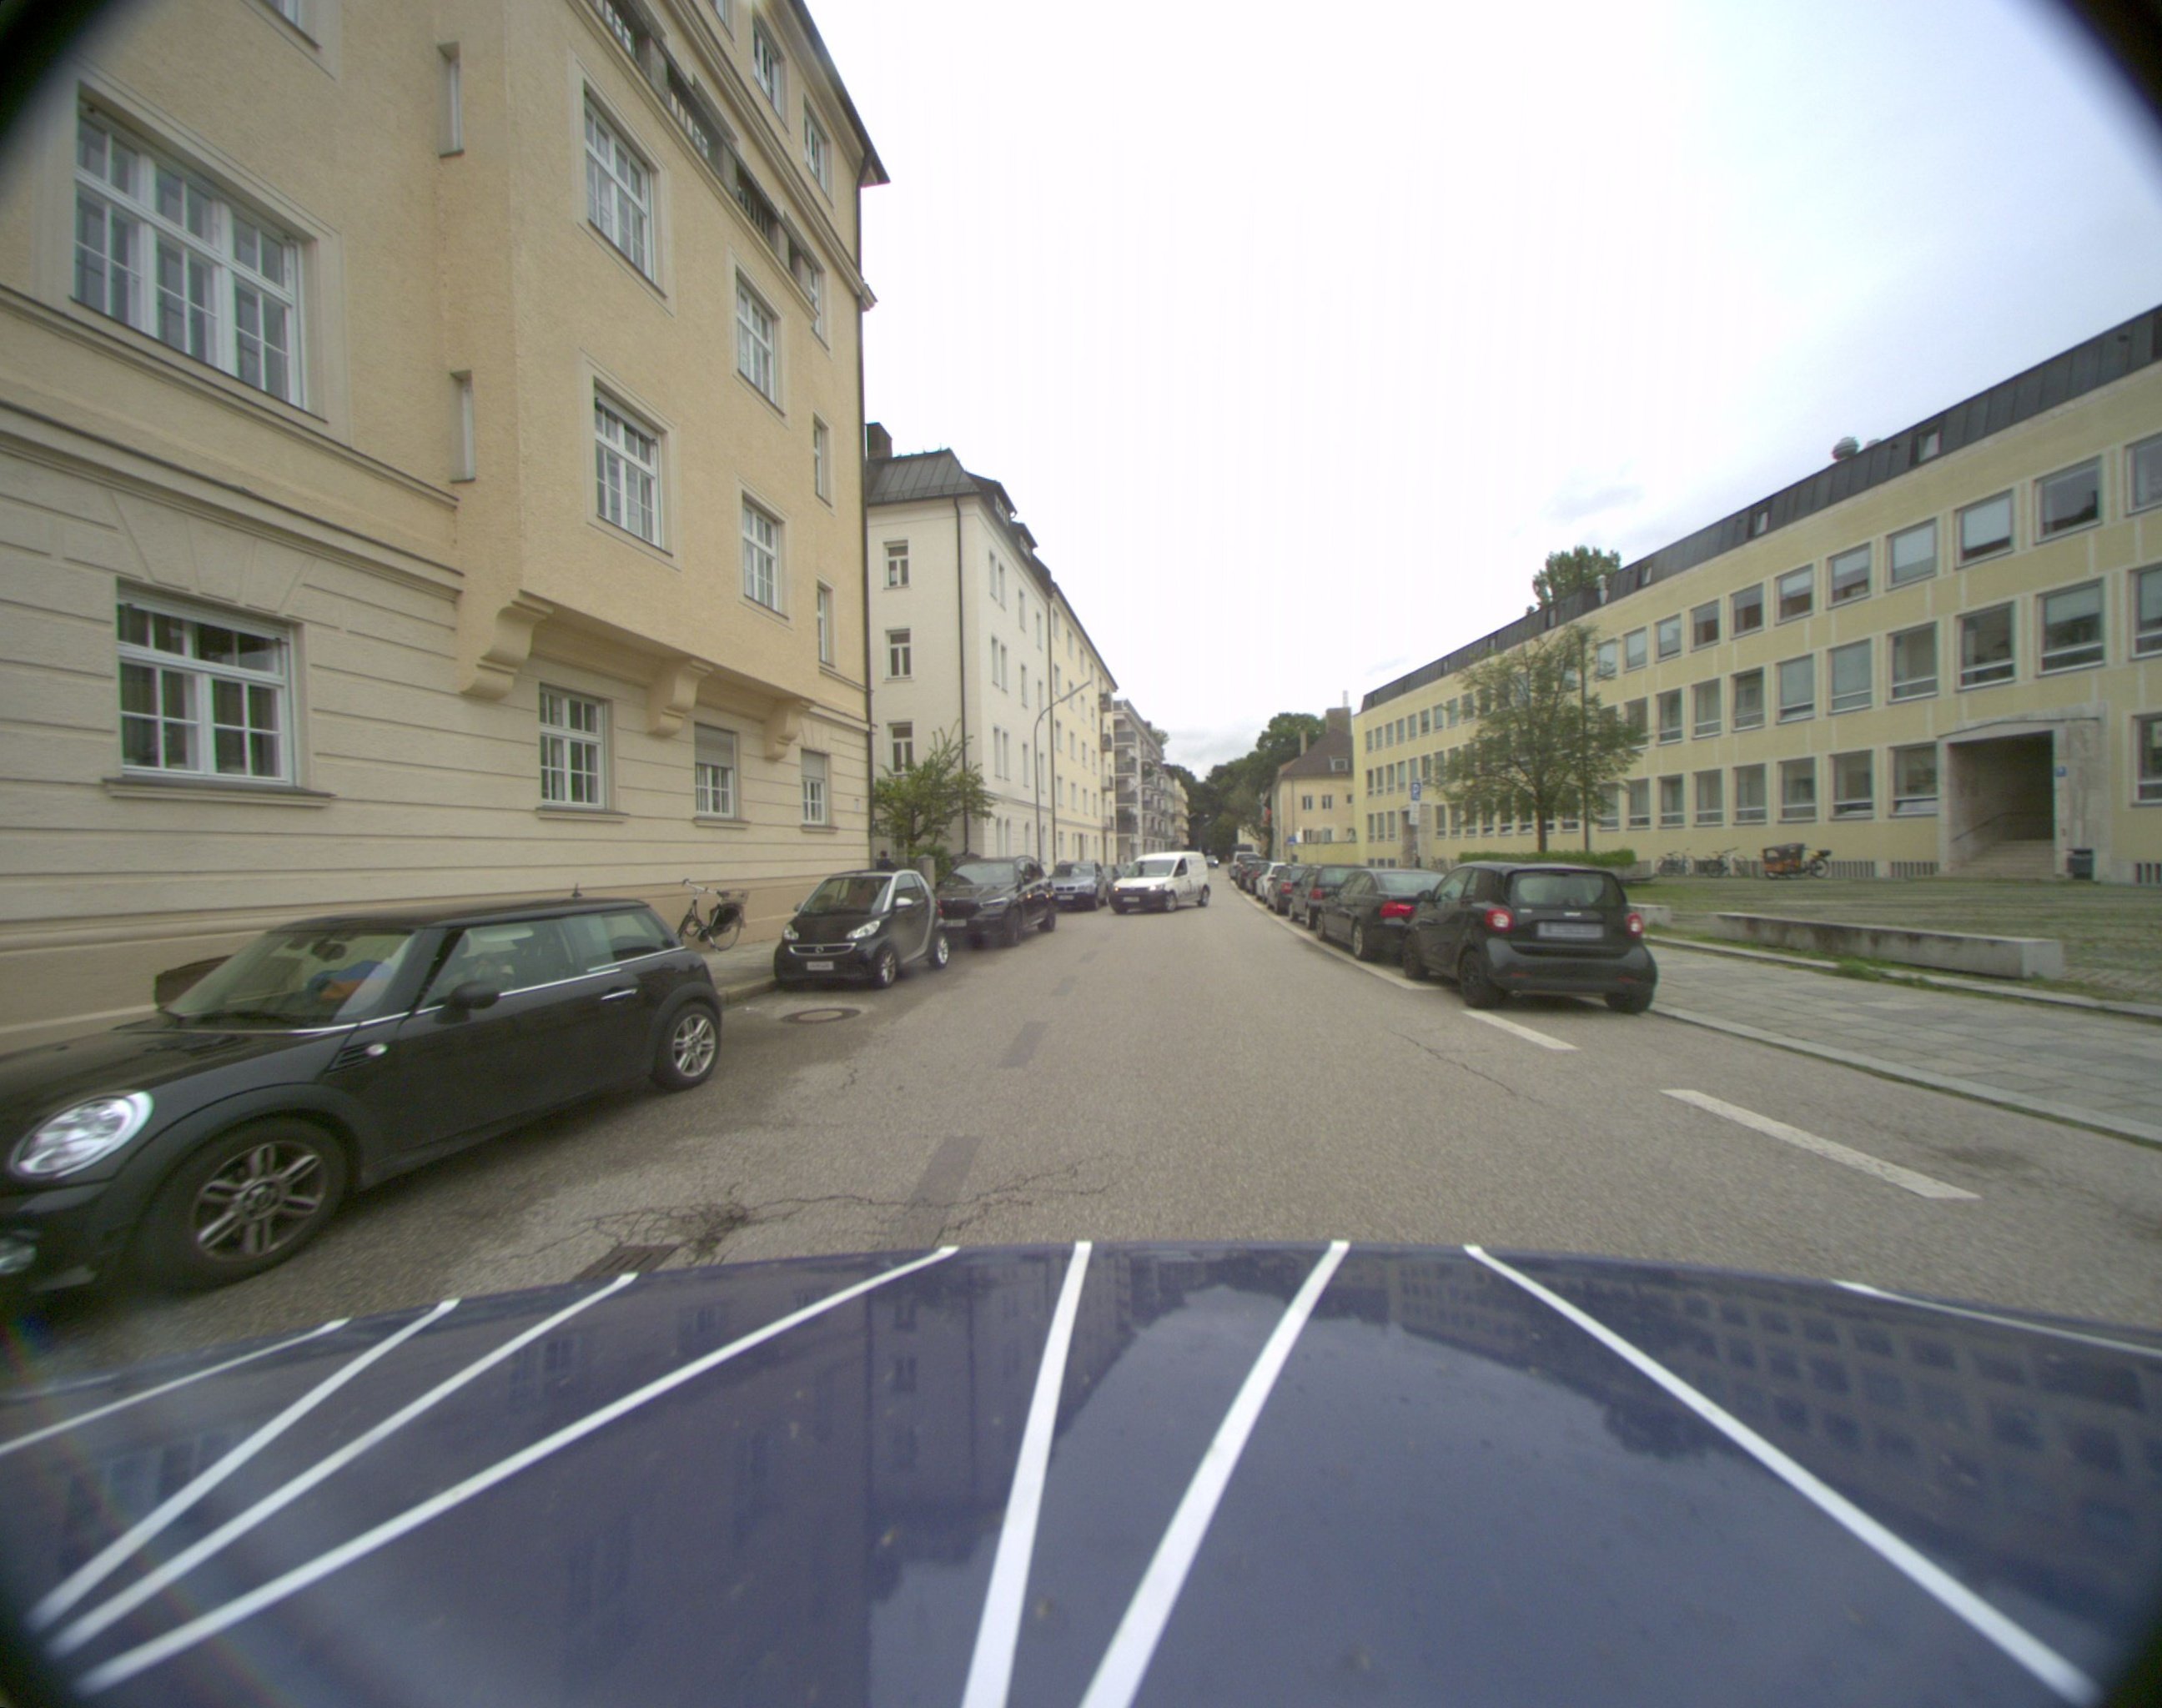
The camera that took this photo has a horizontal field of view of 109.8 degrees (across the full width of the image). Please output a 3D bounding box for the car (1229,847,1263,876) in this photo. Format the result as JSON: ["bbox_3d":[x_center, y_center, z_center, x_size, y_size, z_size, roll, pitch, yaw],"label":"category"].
[{"bbox_3d":[11.456,0.477,53.019,1.948,1.965,4.357,0,1,8],"label":"car"}]

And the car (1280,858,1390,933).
[{"bbox_3d":[5.729,0.873,17.564,1.724,1.473,3.756,0,1,8],"label":"car"}]

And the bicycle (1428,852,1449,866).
[{"bbox_3d":[23.987,0.346,50.974,1.243,0.897,0.288,-4,1,-5],"label":"bicycle"}]

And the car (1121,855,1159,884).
[{"bbox_3d":[3.654,0.916,46.398,1.840,1.538,4.270,-3,0,9],"label":"car"}]

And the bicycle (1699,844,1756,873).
[{"bbox_3d":[25.291,0.186,29.733,1.836,1.023,0.575,-4,1,-6],"label":"bicycle"}]

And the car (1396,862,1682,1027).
[{"bbox_3d":[4.856,0.849,8.532,1.670,1.451,2.869,1,1,6],"label":"car"}]

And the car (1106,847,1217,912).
[{"bbox_3d":[2.648,0.703,23.766,1.881,1.761,4.933,0,1,26],"label":"car"}]

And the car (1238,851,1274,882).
[{"bbox_3d":[9.983,0.665,43.536,1.743,1.679,4.125,0,1,9],"label":"car"}]

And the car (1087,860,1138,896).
[{"bbox_3d":[1.535,1.091,35.790,1.801,1.406,4.532,-3,0,9],"label":"car"}]

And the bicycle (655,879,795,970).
[{"bbox_3d":[-5.876,1.118,12.779,0.703,1.239,2.646,-2,1,10],"label":"bicycle"}]

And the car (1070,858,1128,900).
[{"bbox_3d":[0.813,0.989,31.096,1.706,1.433,4.059,-3,0,10],"label":"car"}]

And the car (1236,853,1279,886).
[{"bbox_3d":[8.783,0.728,37.978,1.743,1.459,3.688,-3,0,9],"label":"car"}]

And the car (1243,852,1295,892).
[{"bbox_3d":[8.192,0.745,33.368,1.743,1.536,4.085,-3,0,8],"label":"car"}]

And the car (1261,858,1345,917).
[{"bbox_3d":[6.327,0.894,22.099,1.724,1.473,4.207,0,1,8],"label":"car"}]

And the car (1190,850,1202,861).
[{"bbox_3d":[18.176,0.221,119.842,1.638,1.726,3.883,-3,0,10],"label":"car"}]

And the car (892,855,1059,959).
[{"bbox_3d":[-1.929,0.964,15.575,1.931,1.719,4.691,-3,-1,10],"label":"car"}]

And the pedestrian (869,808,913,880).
[{"bbox_3d":[-4.787,-0.247,19.140,0.684,1.750,0.694,-3,1,41],"label":"pedestrian"}]

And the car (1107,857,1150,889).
[{"bbox_3d":[2.635,0.975,41.149,1.840,1.426,4.656,-3,0,9],"label":"car"}]

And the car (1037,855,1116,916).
[{"bbox_3d":[-0.061,0.997,25.736,1.781,1.720,4.393,-3,0,10],"label":"car"}]

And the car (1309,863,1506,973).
[{"bbox_3d":[5.059,0.891,12.442,1.725,1.356,4.214,1,1,5],"label":"car"}]

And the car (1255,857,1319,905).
[{"bbox_3d":[7.341,0.915,27.425,1.724,1.521,4.002,0,1,8],"label":"car"}]

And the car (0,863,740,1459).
[{"bbox_3d":[-3.920,1.008,4.176,1.840,1.720,3.732,-3,0,10],"label":"car"}]

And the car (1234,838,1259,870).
[{"bbox_3d":[14.321,-0.016,65.989,1.997,2.701,4.963,0,1,10],"label":"car"}]

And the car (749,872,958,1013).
[{"bbox_3d":[-3.009,1.128,10.628,1.510,1.548,2.865,-3,0,12],"label":"car"}]

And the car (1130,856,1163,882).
[{"bbox_3d":[4.432,0.975,50.945,1.840,1.450,4.025,-3,0,9],"label":"car"}]
